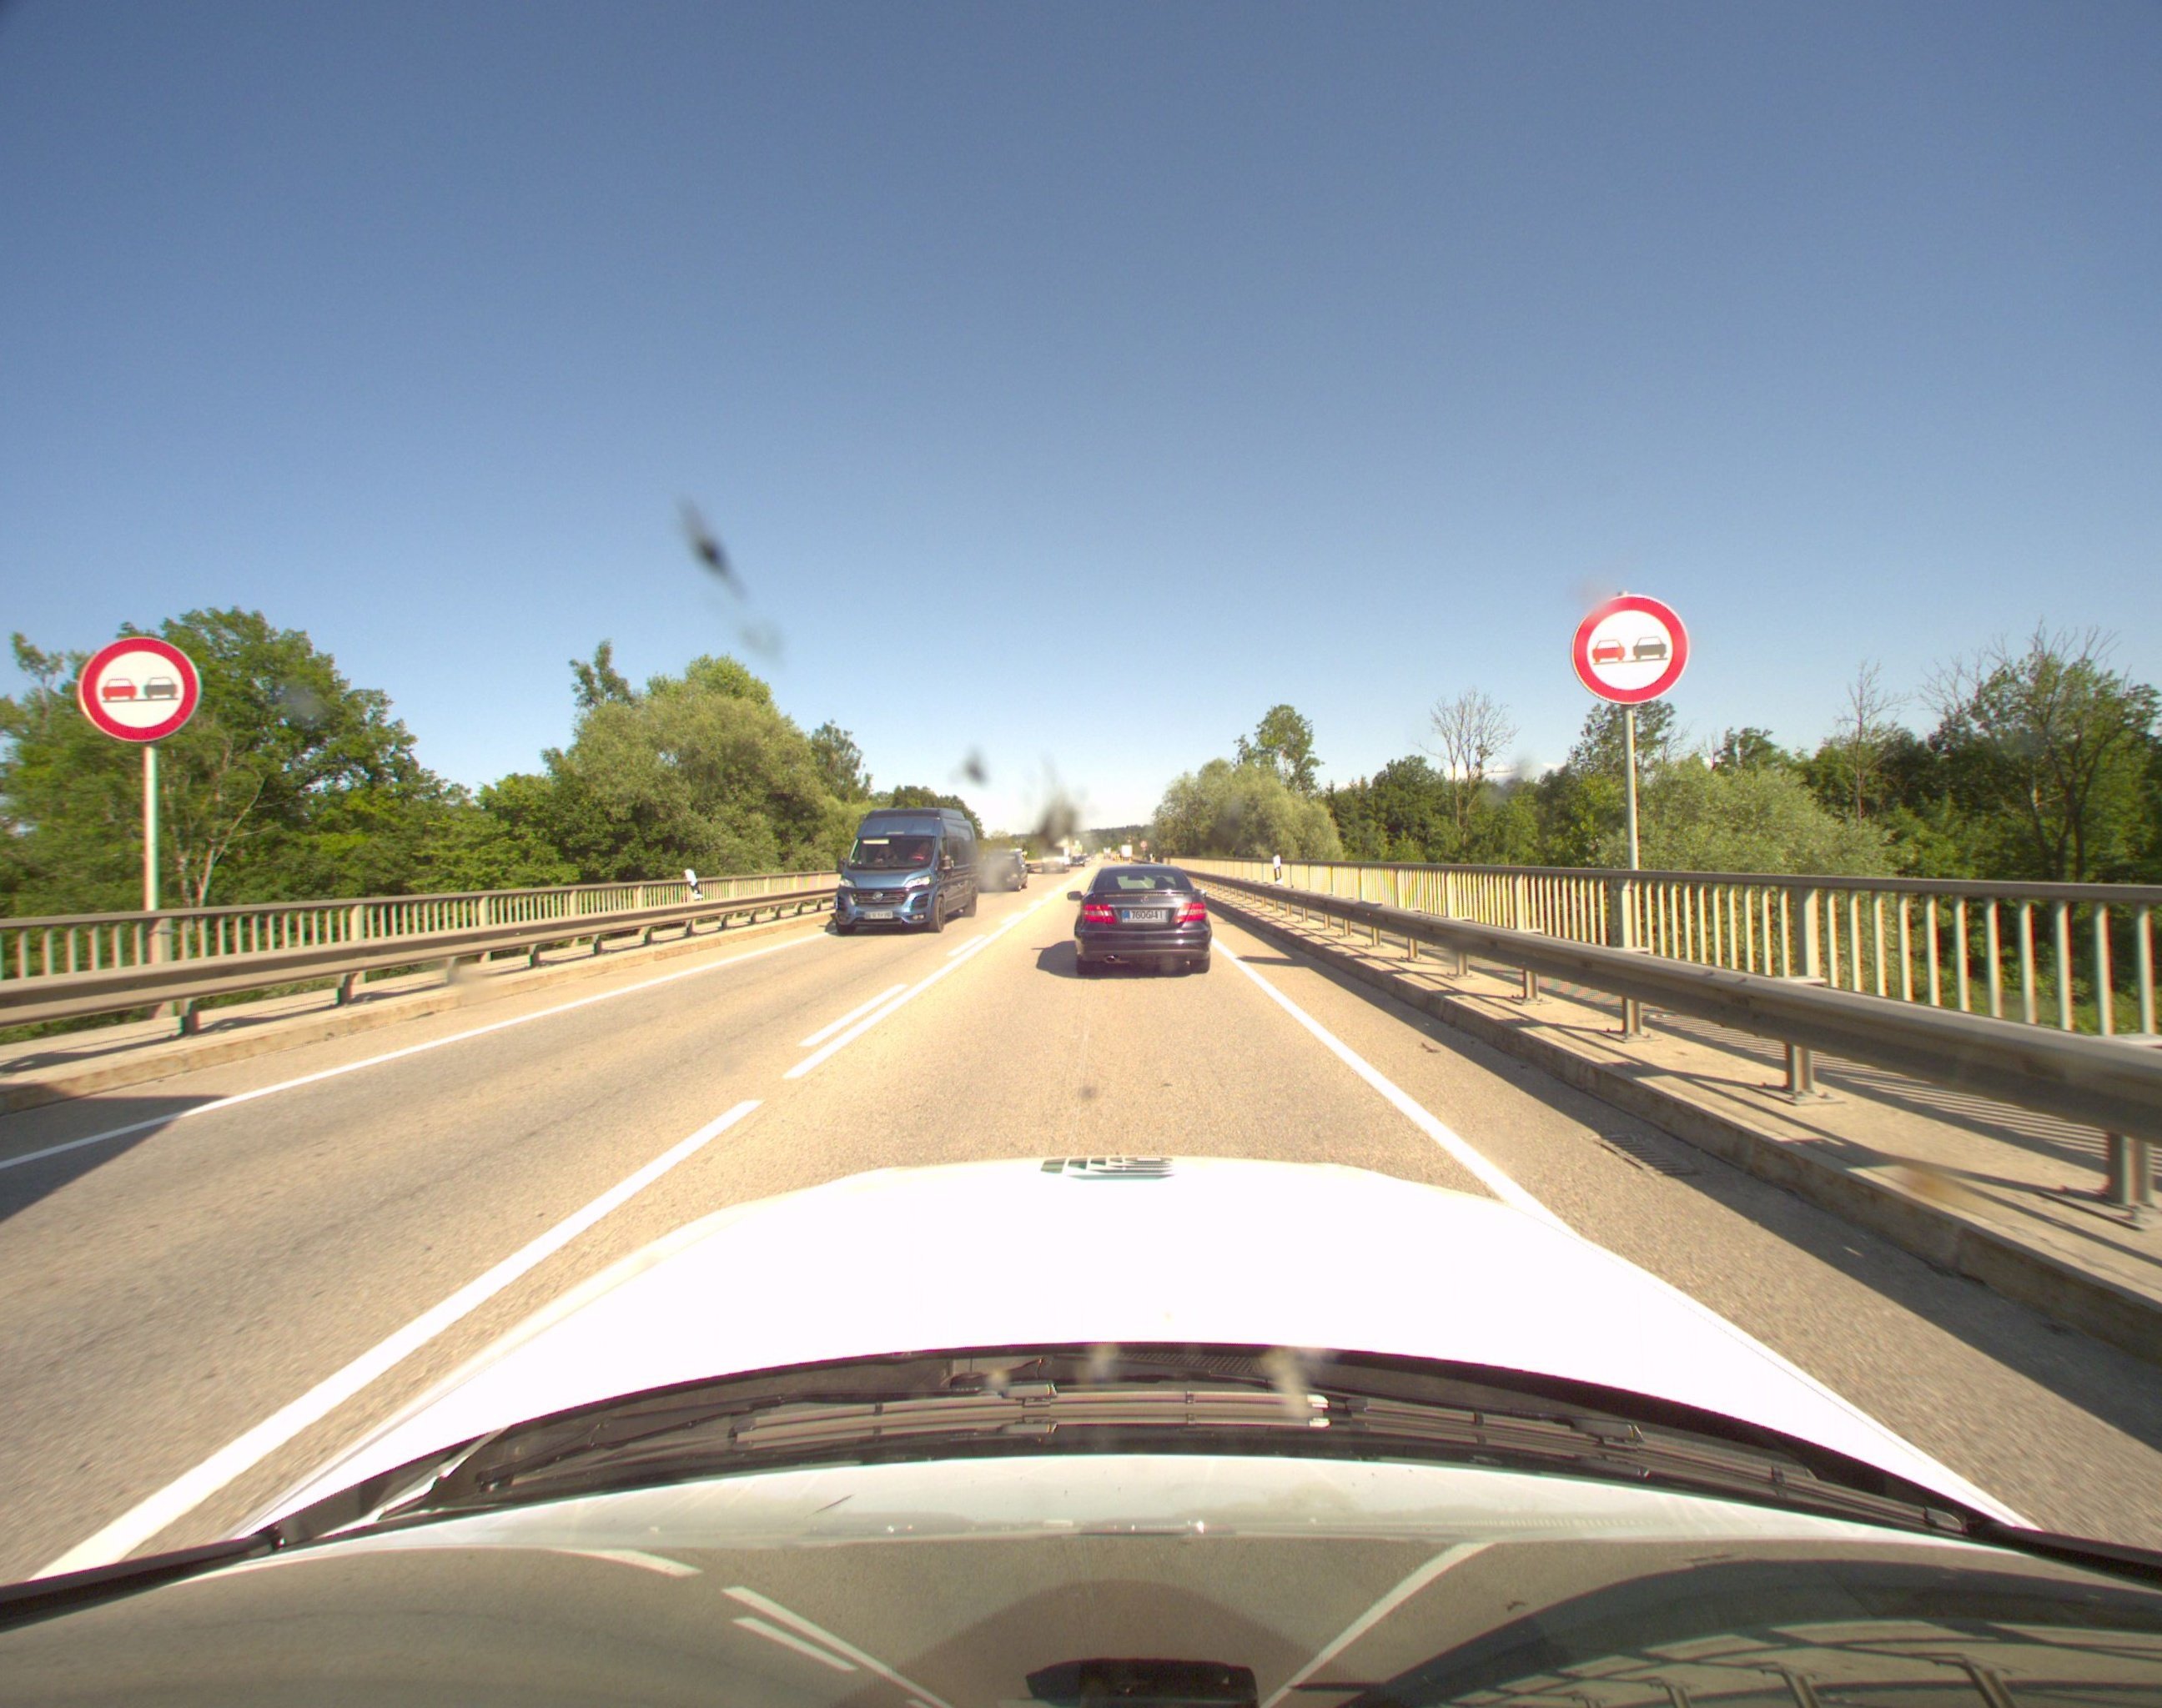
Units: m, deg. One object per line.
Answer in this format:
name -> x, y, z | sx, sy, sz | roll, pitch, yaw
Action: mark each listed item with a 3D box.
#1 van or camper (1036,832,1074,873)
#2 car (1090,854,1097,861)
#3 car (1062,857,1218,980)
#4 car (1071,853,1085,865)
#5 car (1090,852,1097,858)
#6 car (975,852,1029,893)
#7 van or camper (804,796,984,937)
van or camper -> -2.089, -0.123, 68.994 | 2.625, 3.256, 7.754 | -1, 0, 2
car -> 3.891, 0.992, 250.880 | 1.985, 2.013, 4.003 | -1, 0, 3
car -> 0.799, 0.767, 11.496 | 1.786, 1.376, 4.003 | -1, 0, 3
car -> -0.394, 0.666, 103.834 | 1.654, 1.436, 4.187 | -1, 0, 0
car -> 3.594, 0.339, 237.221 | 1.796, 1.606, 3.920 | -1, 0, 4
car -> -3.395, 0.757, 35.871 | 1.835, 1.642, 4.577 | -1, 0, 0
van or camper -> -3.949, 0.237, 18.725 | 2.421, 2.642, 6.407 | -1, 0, 2
